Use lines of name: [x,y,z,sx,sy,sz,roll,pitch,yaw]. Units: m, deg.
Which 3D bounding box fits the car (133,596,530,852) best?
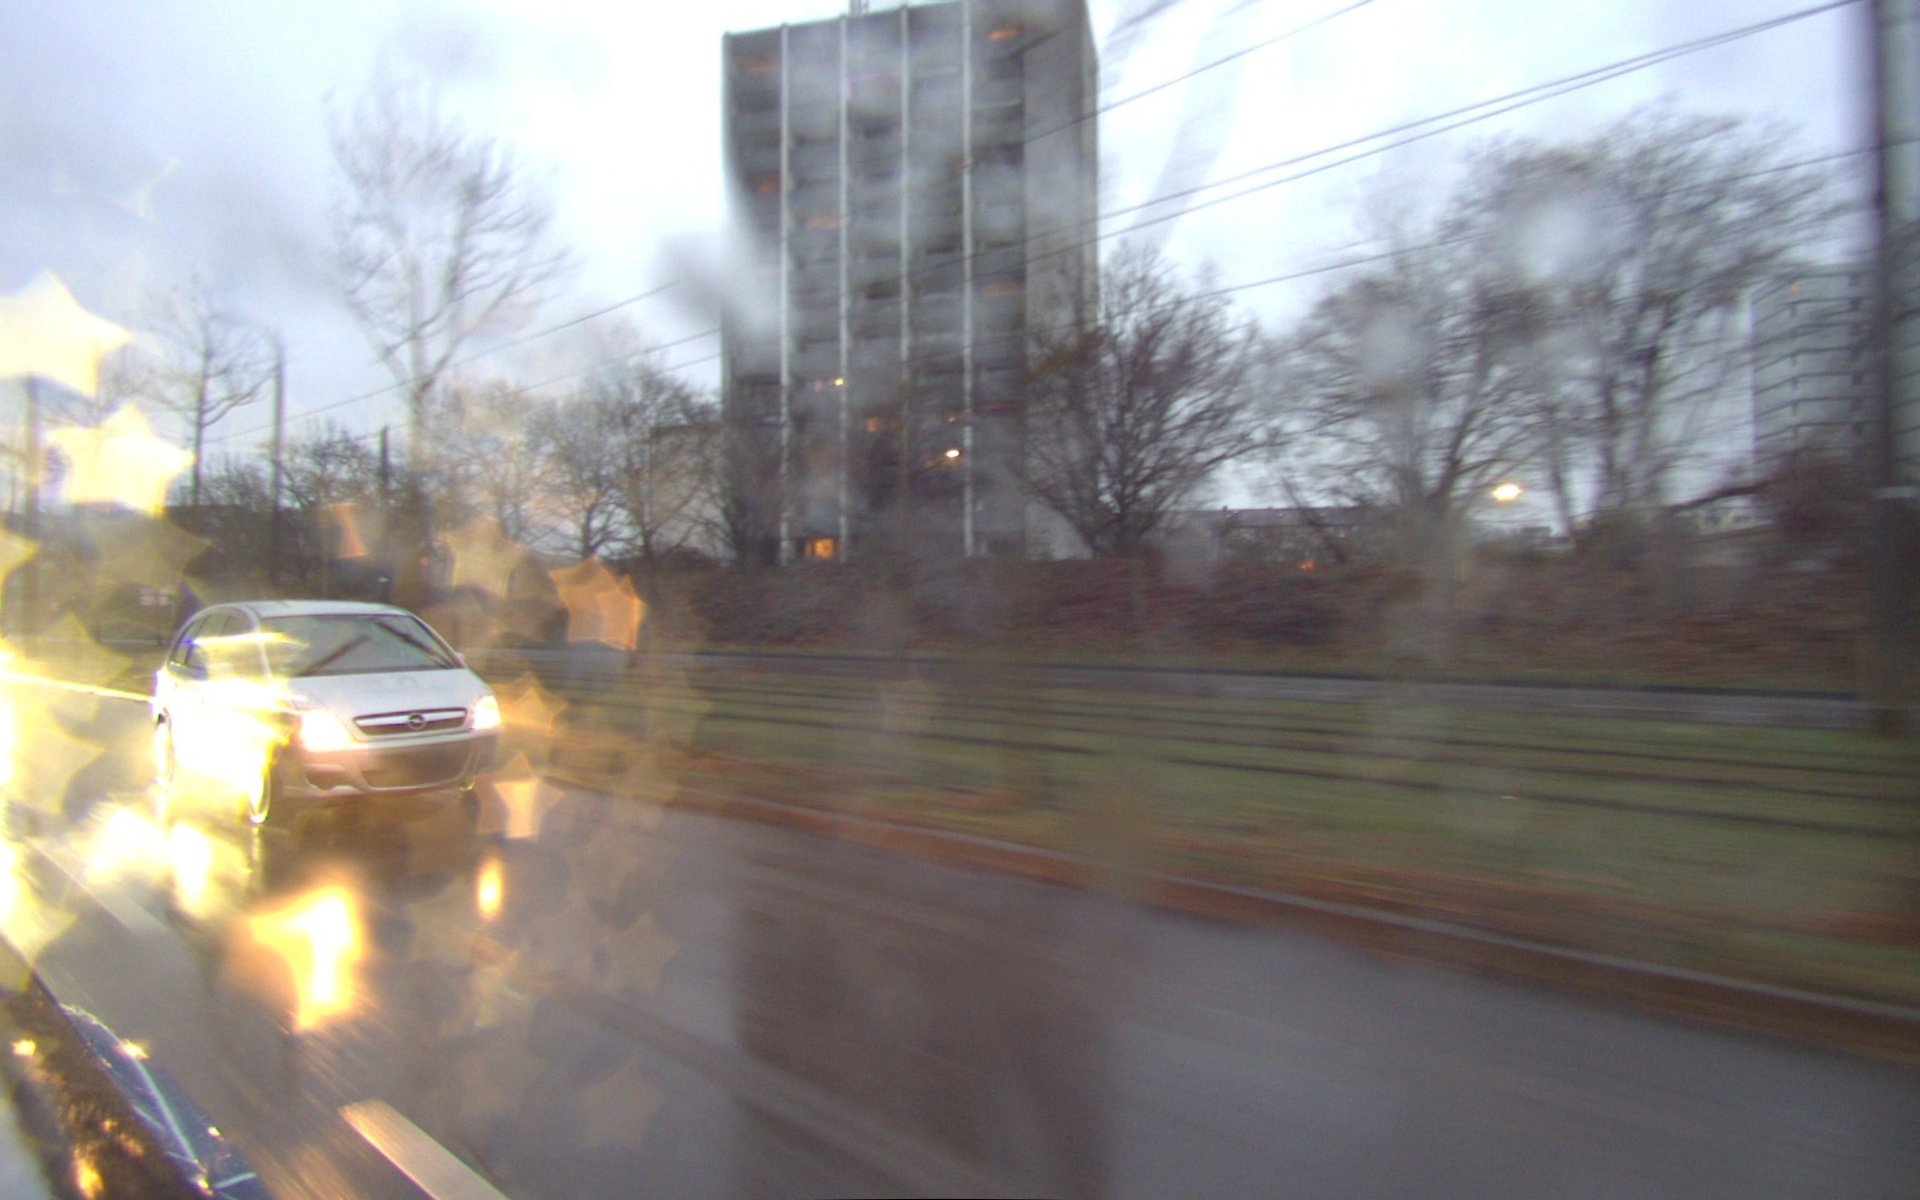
car: [-5.264,0.811,8.271,3.920,1.587,1.648,-1,0,41]
